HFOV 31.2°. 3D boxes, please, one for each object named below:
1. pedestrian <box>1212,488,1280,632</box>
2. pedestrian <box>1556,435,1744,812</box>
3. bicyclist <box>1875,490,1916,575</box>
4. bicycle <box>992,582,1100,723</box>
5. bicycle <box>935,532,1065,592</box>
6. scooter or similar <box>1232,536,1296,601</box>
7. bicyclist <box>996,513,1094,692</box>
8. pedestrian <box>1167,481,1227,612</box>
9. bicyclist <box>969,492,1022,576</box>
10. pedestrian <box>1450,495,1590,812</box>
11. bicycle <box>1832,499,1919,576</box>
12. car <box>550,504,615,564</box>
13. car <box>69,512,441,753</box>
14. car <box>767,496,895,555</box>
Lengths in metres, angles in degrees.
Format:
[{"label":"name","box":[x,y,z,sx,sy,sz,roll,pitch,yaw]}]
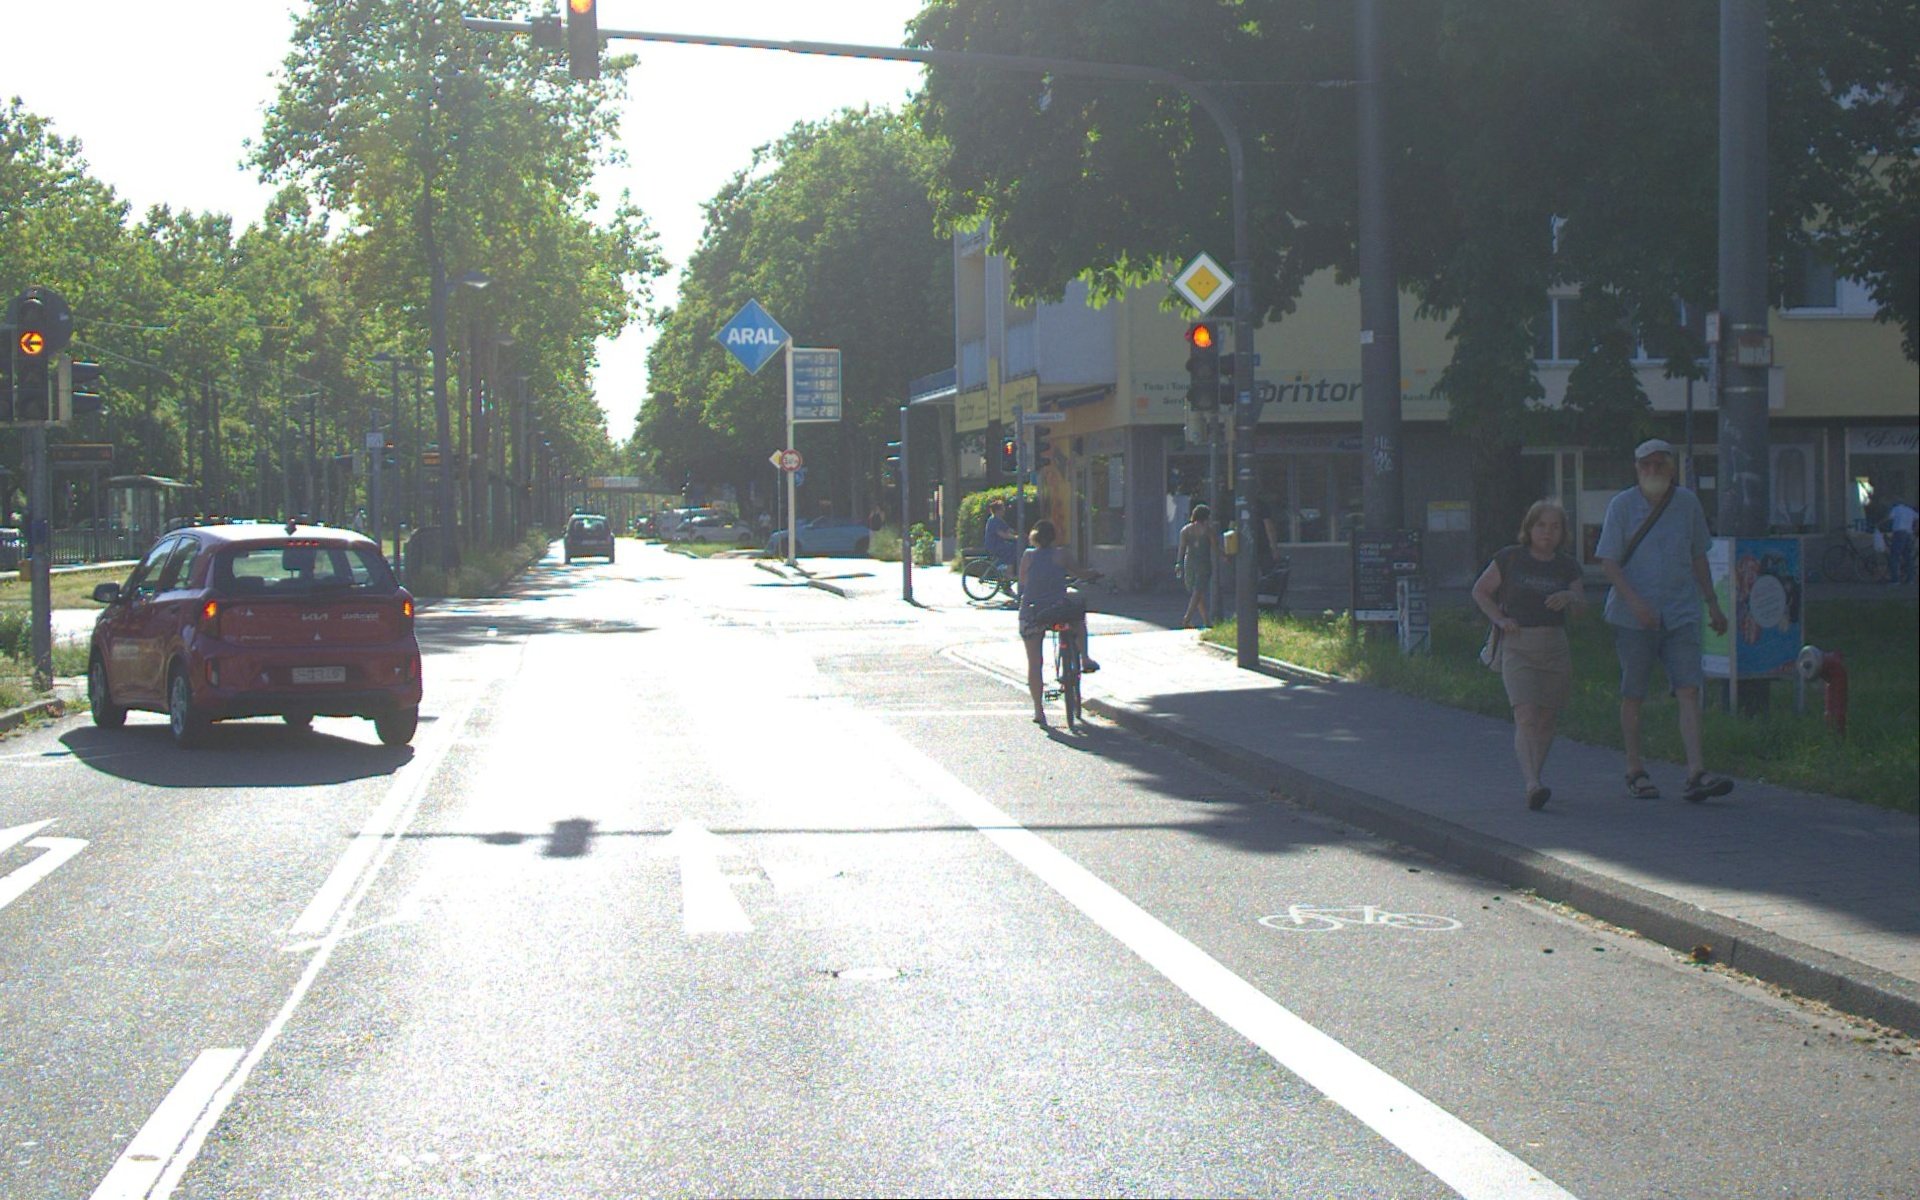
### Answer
[{"label":"pedestrian","box":[3.391,-0.482,40.709,0.730,1.676,0.532,2,2,7]},{"label":"pedestrian","box":[3.399,0.101,16.975,0.703,1.783,0.694,-3,3,0]},{"label":"bicyclist","box":[17.283,-1.249,63.518,0.527,1.562,0.464,1,2,-8]},{"label":"bicycle","box":[0.637,0.381,26.002,0.648,0.969,1.804,2,2,-3]},{"label":"bicycle","box":[0.724,-0.693,62.034,2.252,0.984,0.788,0,7,10]},{"label":"scooter or similar","box":[3.545,-0.370,40.109,0.597,0.735,0.681,1,2,-6]},{"label":"bicyclist","box":[0.643,0.013,26.125,0.638,1.318,0.803,2,2,-4]},{"label":"pedestrian","box":[2.804,-0.638,40.708,0.647,1.517,0.496,2,2,7]},{"label":"bicyclist","box":[0.649,-1.191,62.054,0.769,1.466,0.898,-1,3,11]},{"label":"pedestrian","box":[2.766,0.251,17.006,0.529,1.523,0.627,-2,2,0]},{"label":"bicycle","box":[17.579,-1.150,64.108,2.469,1.394,0.608,1,2,-7]},{"label":"car","box":[-12.389,-2.179,112.700,1.968,1.853,4.001,1,2,-7]},{"label":"car","box":[-5.029,0.168,24.180,1.694,1.503,3.700,0,2,-26]},{"label":"car","box":[-4.277,-2.494,114.537,3.988,1.853,2.011,2,2,5]}]
